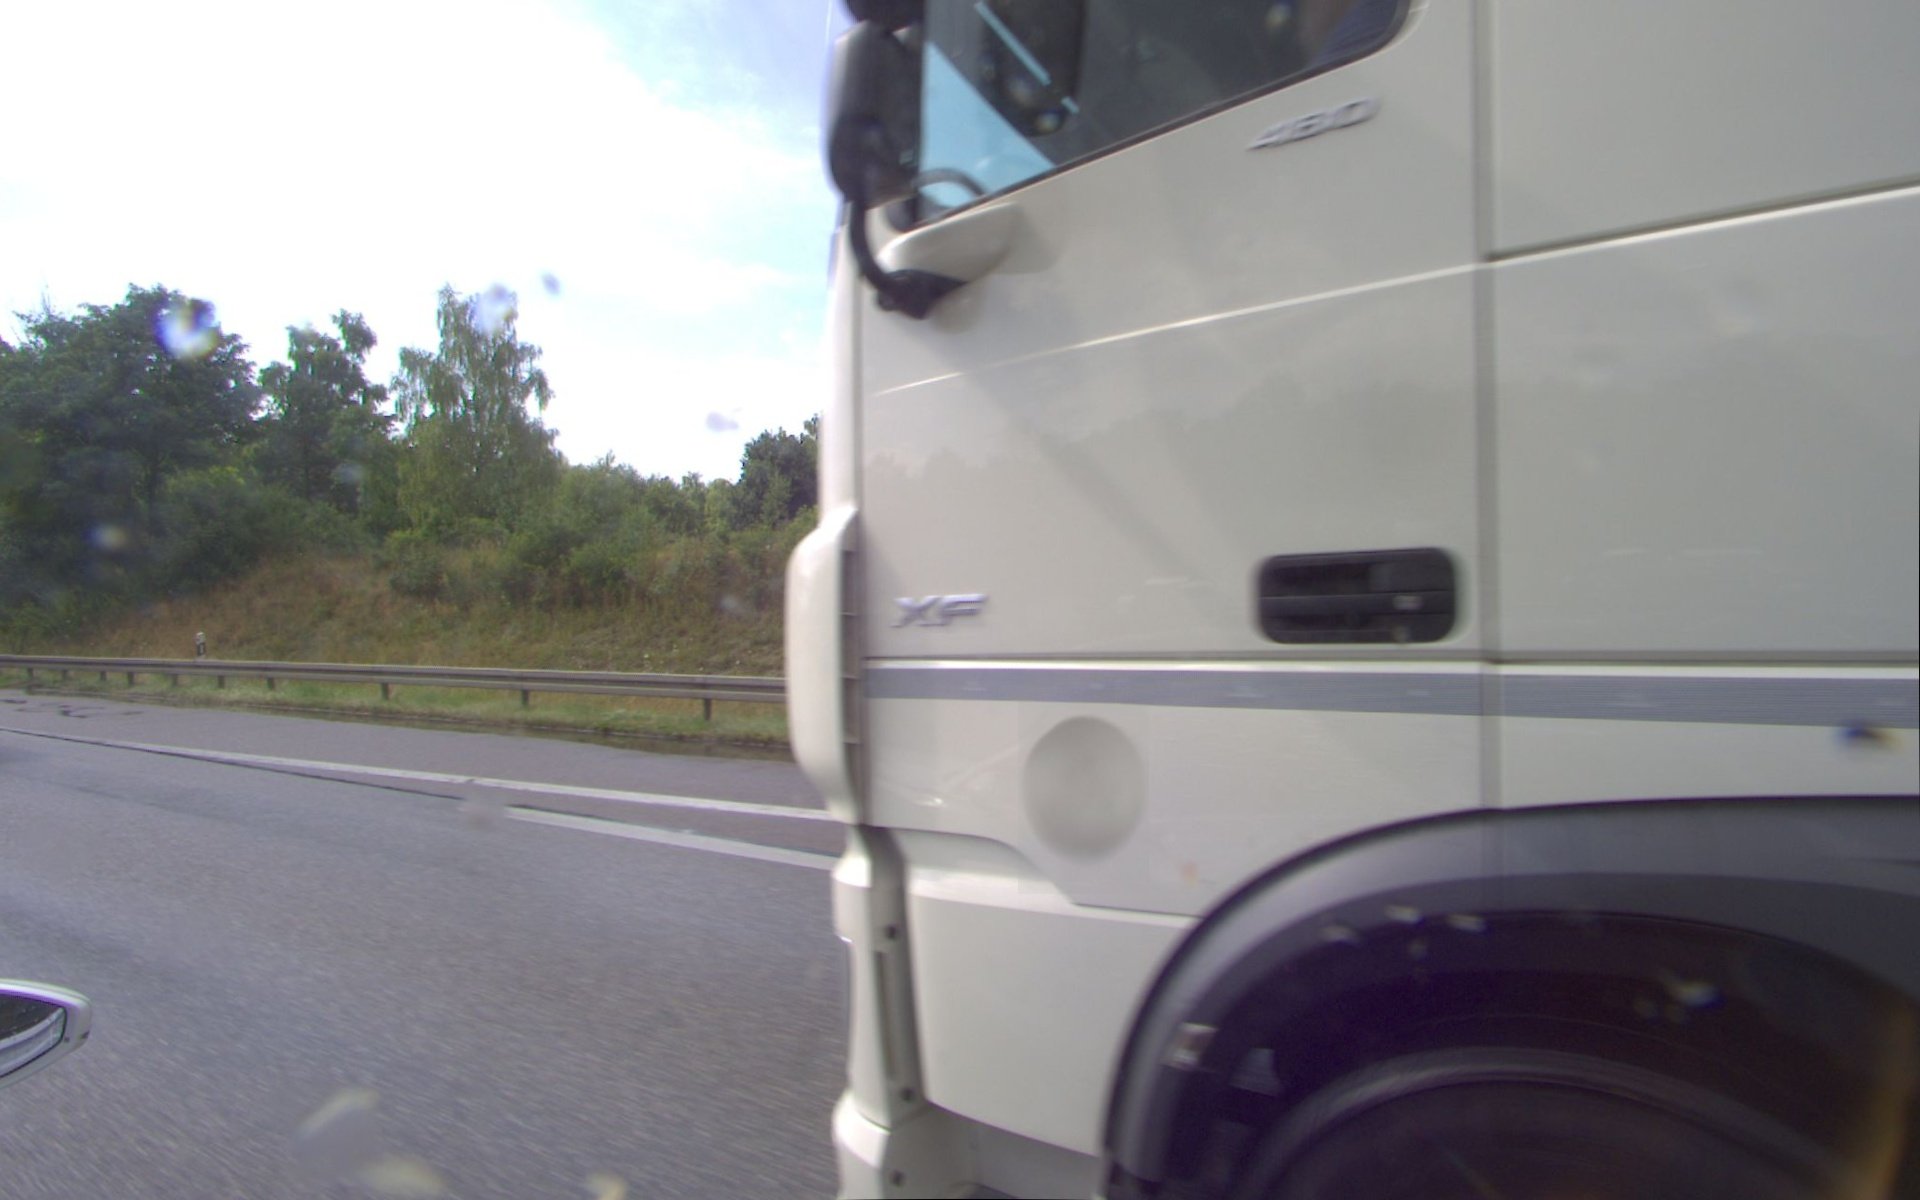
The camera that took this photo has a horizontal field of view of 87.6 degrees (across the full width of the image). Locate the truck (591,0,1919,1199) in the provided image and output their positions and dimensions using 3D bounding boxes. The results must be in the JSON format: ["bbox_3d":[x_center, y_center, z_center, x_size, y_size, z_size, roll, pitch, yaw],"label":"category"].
[{"bbox_3d":[2.891,-0.502,1.539,6.302,3.941,3.280,-1,-1,31],"label":"truck"}]
